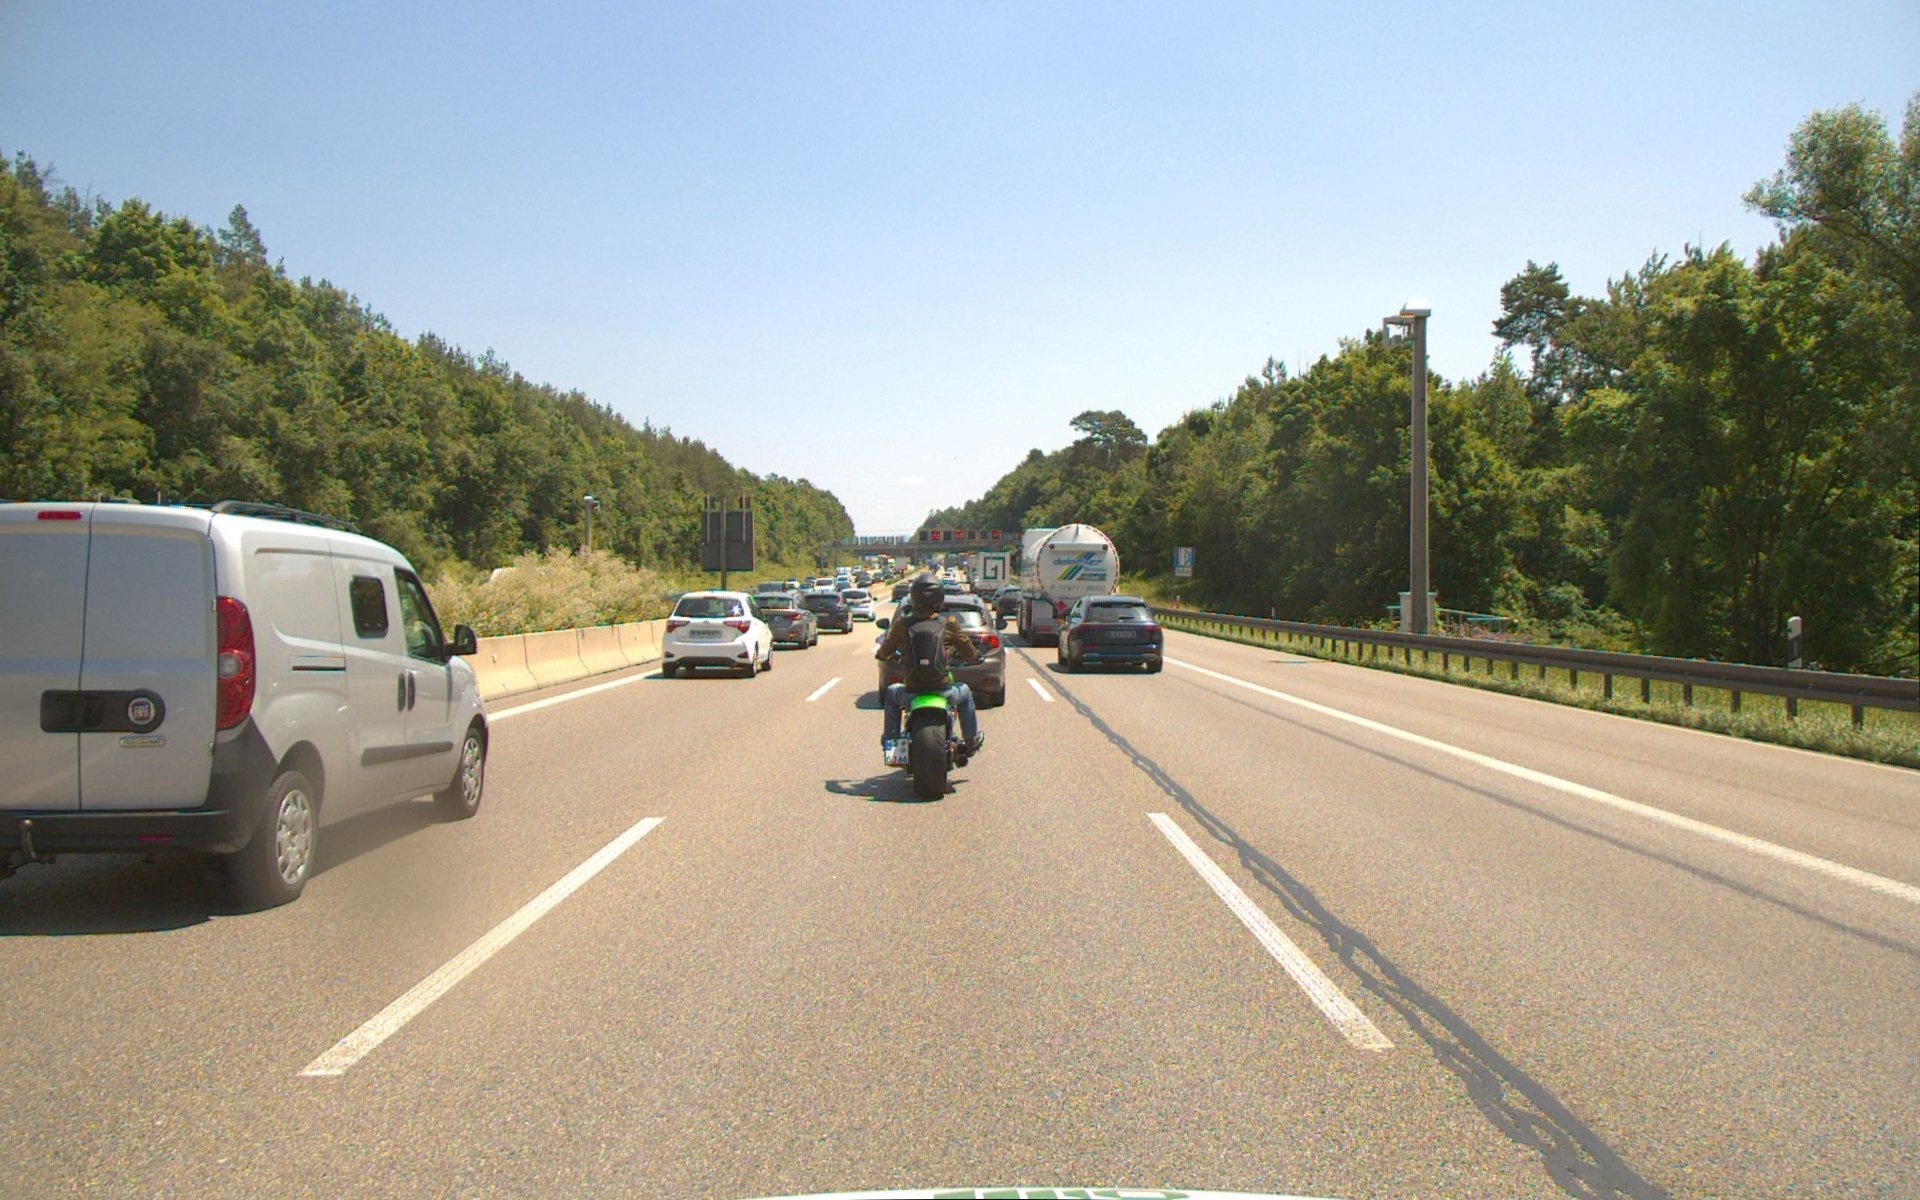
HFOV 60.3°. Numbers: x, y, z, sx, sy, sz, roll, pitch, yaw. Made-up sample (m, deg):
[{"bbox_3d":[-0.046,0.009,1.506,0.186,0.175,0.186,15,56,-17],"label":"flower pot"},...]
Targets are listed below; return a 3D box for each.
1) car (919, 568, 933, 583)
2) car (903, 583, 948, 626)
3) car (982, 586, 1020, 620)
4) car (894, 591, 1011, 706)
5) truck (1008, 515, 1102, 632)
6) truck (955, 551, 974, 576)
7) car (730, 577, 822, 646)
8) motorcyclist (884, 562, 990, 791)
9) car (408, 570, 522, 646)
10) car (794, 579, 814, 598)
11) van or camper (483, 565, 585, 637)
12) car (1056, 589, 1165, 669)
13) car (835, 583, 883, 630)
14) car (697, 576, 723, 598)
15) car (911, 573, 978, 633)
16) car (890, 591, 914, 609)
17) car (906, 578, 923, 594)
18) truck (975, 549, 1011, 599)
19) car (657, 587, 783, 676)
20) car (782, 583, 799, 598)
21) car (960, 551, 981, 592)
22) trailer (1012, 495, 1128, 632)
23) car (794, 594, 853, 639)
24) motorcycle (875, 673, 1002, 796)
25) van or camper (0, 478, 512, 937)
[{"bbox_3d":[-4.809,-3.424,233.008,1.953,2.049,3.999,0,-1,0],"label":"car"},{"bbox_3d":[-1.538,0.217,73.899,1.953,1.806,3.998,1,-1,-1],"label":"car"},{"bbox_3d":[1.981,0.167,81.739,1.739,1.554,3.999,1,-1,0],"label":"car"},{"bbox_3d":[-0.105,0.640,23.517,1.509,1.476,3.999,1,0,0],"label":"car"},{"bbox_3d":[3.162,-0.783,56.527,2.770,3.735,6.428,1,-1,0],"label":"truck"},{"bbox_3d":[0.660,-5.540,251.563,2.641,3.465,10.476,0,0,0],"label":"truck"},{"bbox_3d":[-4.802,0.323,43.651,1.953,1.713,4.329,1,-1,0],"label":"car"},{"bbox_3d":[-0.177,0.587,12.987,0.782,1.717,1.016,1,-1,-1],"label":"motorcyclist"},{"bbox_3d":[-14.072,0.201,47.232,1.953,2.049,4.272,0,0,0],"label":"car"},{"bbox_3d":[-15.587,-1.148,165.117,1.662,1.845,3.999,1,0,-1],"label":"car"},{"bbox_3d":[-15.282,0.095,59.719,2.108,2.465,6.195,1,-1,0],"label":"van or camper"},{"bbox_3d":[2.985,0.595,33.688,1.755,1.484,4.623,1,-1,0],"label":"car"},{"bbox_3d":[-4.593,0.322,75.719,1.953,2.049,3.999,1,-1,-1],"label":"car"},{"bbox_3d":[-23.395,-1.211,154.833,1.953,2.049,3.999,1,0,-1],"label":"car"},{"bbox_3d":[-0.510,0.132,50.715,1.953,1.741,3.998,1,-1,-1],"label":"car"},{"bbox_3d":[-4.698,-0.010,133.967,1.727,1.467,4.000,1,0,0],"label":"car"},{"bbox_3d":[-4.809,-1.497,174.967,1.626,1.627,4.000,0,-1,0],"label":"car"},{"bbox_3d":[2.739,-2.121,137.257,2.794,3.888,7.189,1,-1,2],"label":"truck"},{"bbox_3d":[-4.352,0.525,30.509,1.739,1.435,4.000,1,2,0],"label":"car"},{"bbox_3d":[-23.169,-1.304,226.365,1.953,2.049,3.998,0,0,-2],"label":"car"},{"bbox_3d":[1.093,-3.008,175.158,2.123,3.961,9.328,1,-1,0],"label":"car"},{"bbox_3d":[3.209,-0.905,51.042,2.770,3.735,10.730,1,-1,0],"label":"trailer"},{"bbox_3d":[-4.729,0.598,57.473,1.954,1.490,3.996,1,-1,-4],"label":"car"},{"bbox_3d":[-0.162,1.029,13.207,0.917,0.807,2.298,1,-1,0],"label":"motorcycle"},{"bbox_3d":[-4.016,0.435,9.208,1.815,1.913,4.561,1,0,-1],"label":"van or camper"}]
